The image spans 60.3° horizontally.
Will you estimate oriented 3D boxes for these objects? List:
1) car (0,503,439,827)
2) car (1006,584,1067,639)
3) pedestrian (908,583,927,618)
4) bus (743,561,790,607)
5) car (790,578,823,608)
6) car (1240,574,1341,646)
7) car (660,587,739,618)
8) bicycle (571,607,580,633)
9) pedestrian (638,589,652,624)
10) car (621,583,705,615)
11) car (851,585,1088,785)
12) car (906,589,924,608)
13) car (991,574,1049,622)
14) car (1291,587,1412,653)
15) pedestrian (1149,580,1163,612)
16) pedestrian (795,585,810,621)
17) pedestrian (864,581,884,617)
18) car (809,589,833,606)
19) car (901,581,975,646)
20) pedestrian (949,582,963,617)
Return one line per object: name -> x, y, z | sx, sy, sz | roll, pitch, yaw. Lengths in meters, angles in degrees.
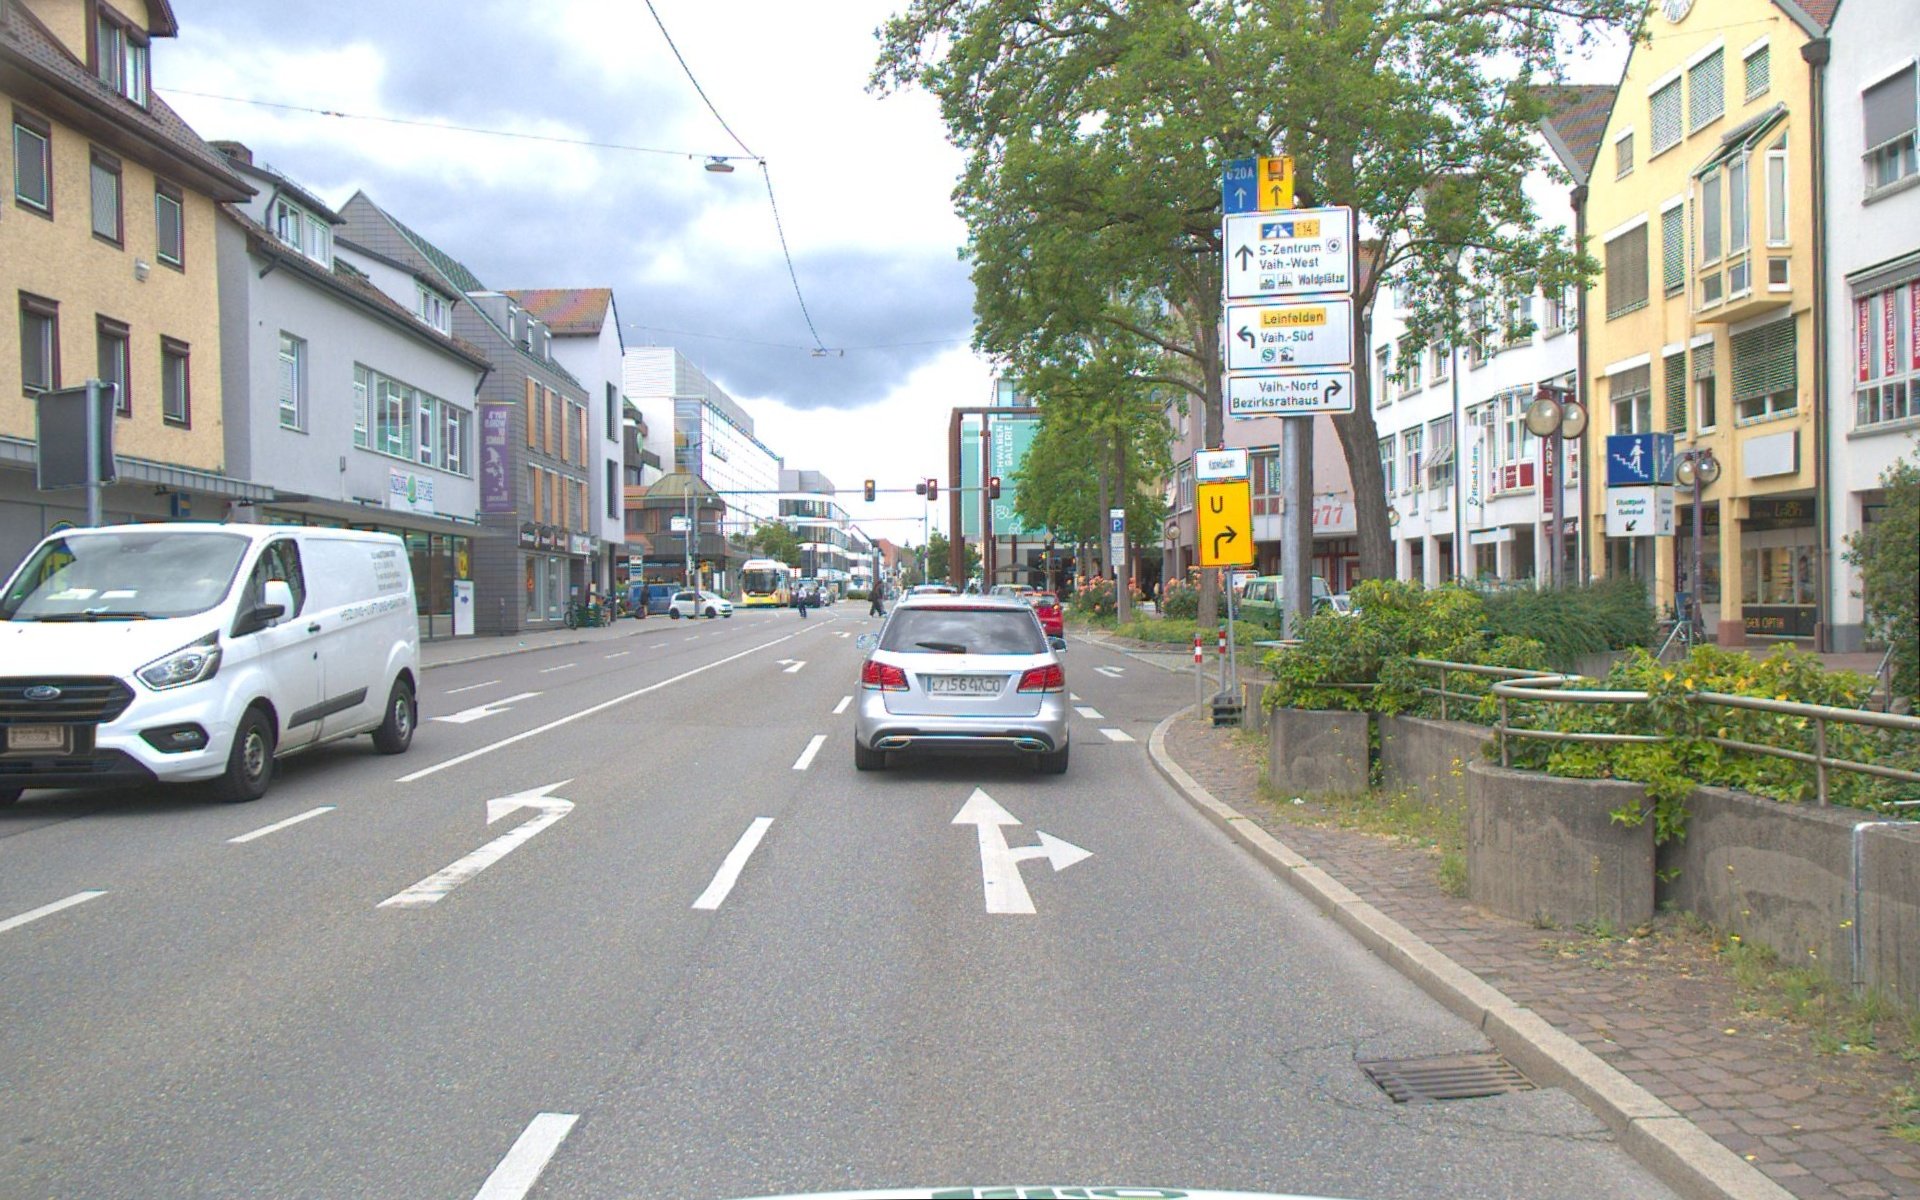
car -> -5.813, 0.409, 13.023 | 1.922, 1.995, 5.137 | -2, 0, -2
car -> 2.282, 0.390, 50.088 | 1.718, 1.547, 4.000 | -1, -2, 1
pedestrian -> -2.050, 0.034, 79.388 | 0.817, 1.663, 0.587 | 2, 0, -5
bus -> -13.771, -1.141, 118.043 | 2.719, 3.220, 5.932 | -1, 0, -1
car -> -10.811, -0.506, 116.936 | 1.953, 2.049, 3.999 | -1, 0, -1
car -> 9.234, 0.246, 46.511 | 1.829, 1.897, 3.997 | -1, 0, -3
car -> -13.986, 0.132, 88.696 | 3.907, 1.557, 1.666 | -1, 0, 24
bicycle -> -13.730, 0.723, 59.071 | 0.268, 0.906, 1.225 | -1, 0, -10
pedestrian -> -15.612, 0.299, 82.029 | 0.576, 1.699, 0.639 | 2, 1, -14
car -> -17.841, -0.054, 99.285 | 4.826, 1.855, 1.992 | -1, 0, -15
car -> -0.025, 0.651, 14.841 | 1.837, 1.532, 3.998 | 0, 0, -3
car -> -4.977, -0.138, 184.687 | 1.953, 2.049, 3.999 | -1, 0, -2
car -> 2.240, -0.094, 62.641 | 1.953, 1.713, 3.999 | -1, 0, -1
car -> 9.694, 0.459, 41.254 | 1.829, 1.554, 3.997 | -1, 0, -4
pedestrian -> 10.558, -0.214, 89.095 | 0.600, 1.663, 0.588 | 2, 0, 12
pedestrian -> -7.394, 0.132, 77.410 | 0.602, 1.663, 0.586 | 2, 0, -10
pedestrian -> -4.128, -0.043, 79.466 | 0.840, 1.663, 0.588 | 2, 0, 1
car -> -10.680, -0.202, 127.463 | 1.543, 1.266, 3.606 | -1, 0, -1
car -> -0.623, 0.347, 46.504 | 1.953, 1.713, 3.999 | -1, 0, -1
pedestrian -> -0.190, -0.026, 78.076 | 0.601, 1.663, 0.587 | 2, 0, -5
